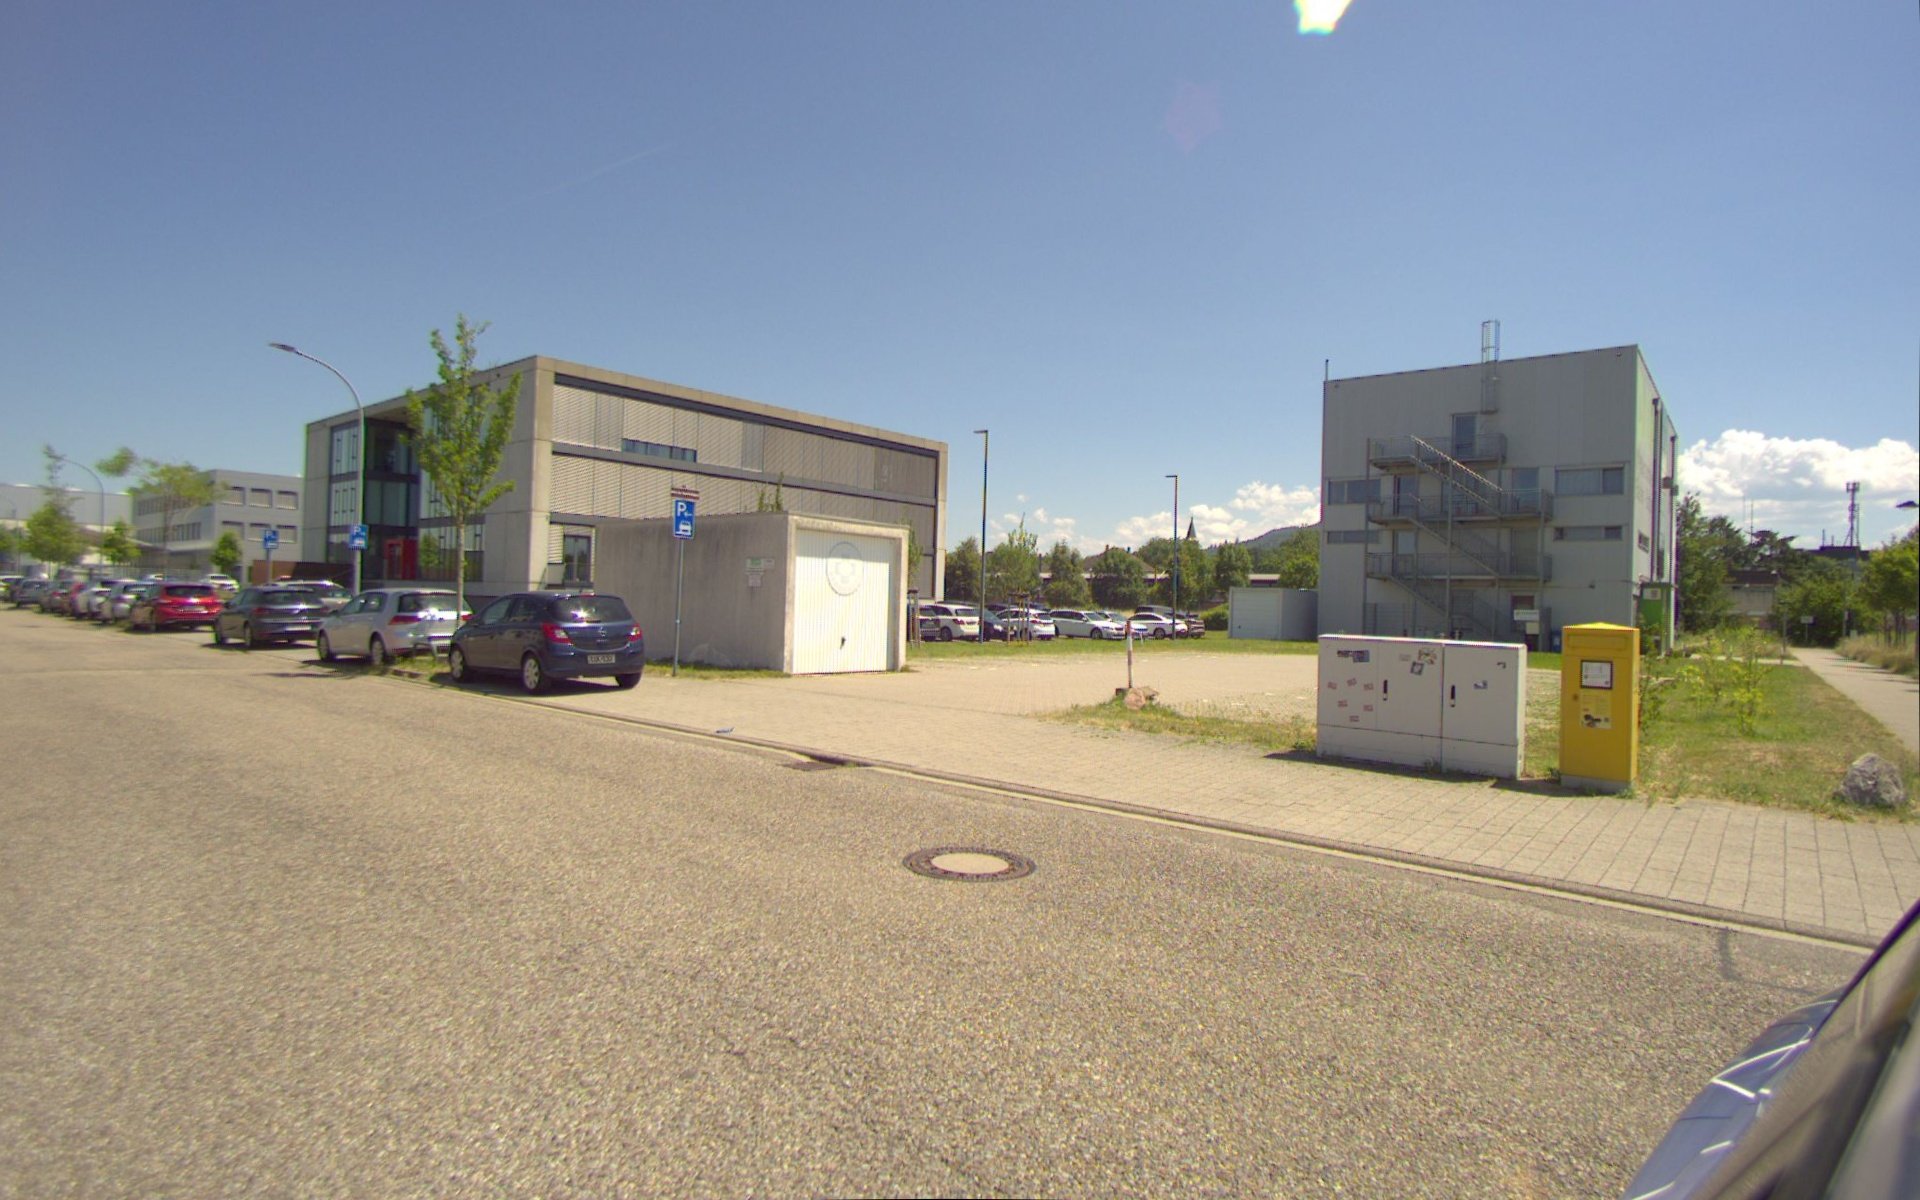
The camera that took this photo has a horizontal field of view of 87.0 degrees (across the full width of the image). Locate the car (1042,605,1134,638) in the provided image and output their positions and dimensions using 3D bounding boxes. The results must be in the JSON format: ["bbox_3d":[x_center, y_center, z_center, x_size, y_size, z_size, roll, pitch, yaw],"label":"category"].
[{"bbox_3d":[6.356,1.033,50.561,4.353,1.485,1.684,1,0,41],"label":"car"}]

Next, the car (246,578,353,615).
[{"bbox_3d":[-27.983,-0.178,42.987,1.637,1.487,3.607,0,2,19],"label":"car"}]

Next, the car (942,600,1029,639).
[{"bbox_3d":[1.086,0.834,44.347,3.613,1.554,1.634,1,0,41],"label":"car"}]

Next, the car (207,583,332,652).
[{"bbox_3d":[-16.672,0.361,24.371,3.613,1.487,1.635,1,2,41],"label":"car"}]

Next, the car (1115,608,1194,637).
[{"bbox_3d":[10.792,1.241,56.369,4.039,1.443,1.634,1,0,41],"label":"car"}]

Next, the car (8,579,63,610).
[{"bbox_3d":[-46.526,-0.319,50.915,3.613,1.487,1.635,1,2,41],"label":"car"}]

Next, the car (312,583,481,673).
[{"bbox_3d":[-10.834,0.461,19.383,3.610,1.519,1.636,1,2,39],"label":"car"}]

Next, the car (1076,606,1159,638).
[{"bbox_3d":[8.121,1.112,52.396,4.039,1.485,1.634,1,0,41],"label":"car"}]

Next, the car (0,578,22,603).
[{"bbox_3d":[-57.459,-0.583,60.523,3.613,1.487,1.635,1,2,41],"label":"car"}]

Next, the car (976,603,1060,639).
[{"bbox_3d":[2.643,0.946,46.435,3.613,1.519,1.634,1,0,41],"label":"car"}]

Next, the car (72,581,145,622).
[{"bbox_3d":[-33.077,0.033,39.305,3.613,1.487,1.635,1,2,41],"label":"car"}]

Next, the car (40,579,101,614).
[{"bbox_3d":[-40.554,-0.185,46.128,3.613,1.487,1.635,1,2,41],"label":"car"}]

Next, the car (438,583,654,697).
[{"bbox_3d":[-6.475,0.521,15.697,3.613,1.519,1.659,1,2,41],"label":"car"}]

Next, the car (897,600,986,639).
[{"bbox_3d":[-0.808,0.789,42.677,3.613,1.519,1.634,1,0,41],"label":"car"}]

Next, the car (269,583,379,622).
[{"bbox_3d":[-25.901,0.065,41.336,1.637,1.487,3.607,0,2,19],"label":"car"}]

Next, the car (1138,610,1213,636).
[{"bbox_3d":[12.578,1.328,59.246,4.039,1.405,1.634,1,0,41],"label":"car"}]

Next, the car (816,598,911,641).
[{"bbox_3d":[-3.759,0.720,39.150,3.613,1.519,1.634,1,0,41],"label":"car"}]

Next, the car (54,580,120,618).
[{"bbox_3d":[-37.222,-0.071,43.110,3.613,1.487,1.635,1,2,41],"label":"car"}]

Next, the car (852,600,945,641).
[{"bbox_3d":[-2.493,0.805,40.639,3.613,1.519,1.634,1,0,41],"label":"car"}]

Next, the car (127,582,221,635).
[{"bbox_3d":[-24.274,0.210,31.223,3.613,1.487,1.635,1,2,41],"label":"car"}]

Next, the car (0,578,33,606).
[{"bbox_3d":[-53.772,-0.487,57.174,3.613,1.487,1.635,1,2,41],"label":"car"}]

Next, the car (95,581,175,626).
[{"bbox_3d":[-29.447,0.100,36.093,3.613,1.487,1.635,1,2,41],"label":"car"}]
